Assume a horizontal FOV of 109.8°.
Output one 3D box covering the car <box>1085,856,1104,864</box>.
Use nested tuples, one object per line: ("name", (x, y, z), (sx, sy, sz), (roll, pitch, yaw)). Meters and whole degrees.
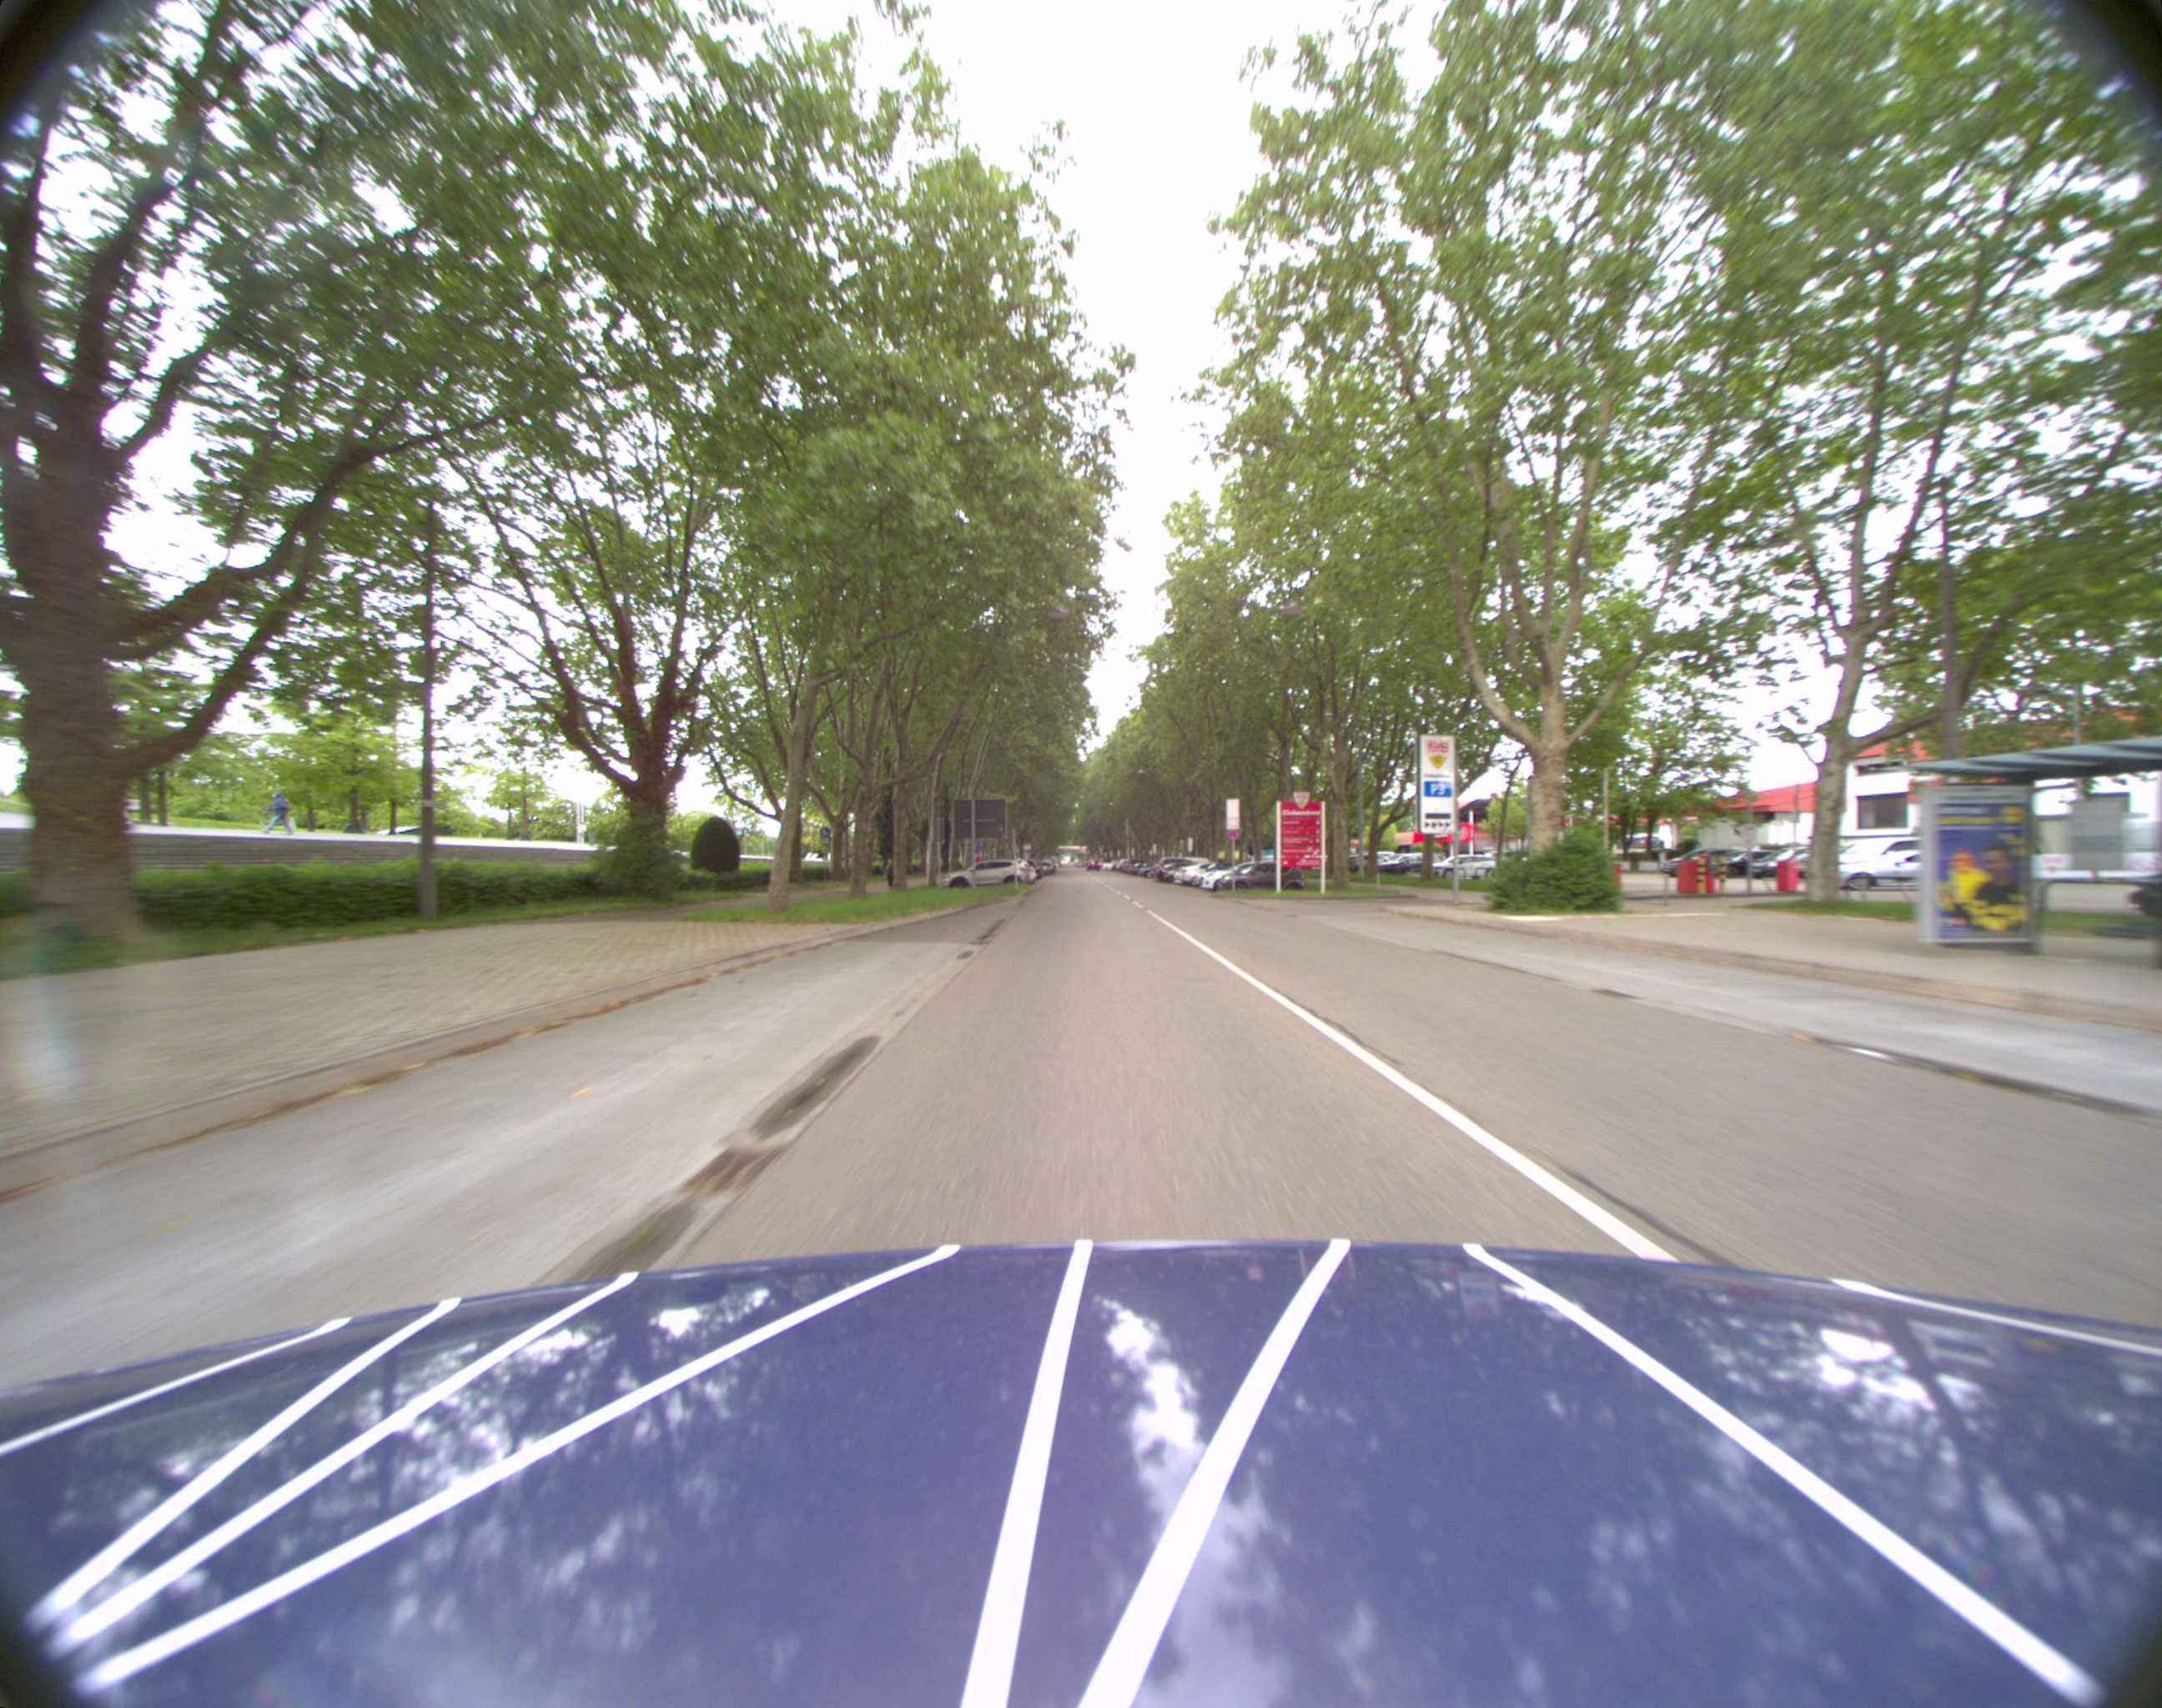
("car", (3.304, 1.449, 184.310), (4.492, 1.740, 2.001), (-3, 0, 4))

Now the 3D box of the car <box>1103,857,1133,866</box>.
("car", (5.610, 1.152, 116.627), (4.420, 1.416, 1.776), (1, 0, -2))

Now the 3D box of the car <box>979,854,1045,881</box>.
("car", (-4.670, 0.909, 51.666), (4.358, 1.750, 1.925), (0, 0, -2))

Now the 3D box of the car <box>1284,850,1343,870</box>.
("car", (22.388, 0.564, 73.296), (4.955, 1.786, 2.182), (-1, 0, -3))

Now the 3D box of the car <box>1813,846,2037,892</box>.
("car", (30.080, 0.537, 27.333), (4.965, 1.543, 2.104), (-1, 1, 26))

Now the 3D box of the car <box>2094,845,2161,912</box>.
("car", (23.487, 0.461, 15.152), (3.997, 1.316, 2.001), (-1, 1, -2))

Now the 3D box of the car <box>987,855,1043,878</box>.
("car", (-5.339, 1.014, 61.882), (4.358, 1.735, 1.836), (-2, 0, -3))

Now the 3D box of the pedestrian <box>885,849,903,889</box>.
("pedestrian", (-9.445, 0.758, 38.391), (0.788, 2.002, 0.598), (-1, 1, -17))

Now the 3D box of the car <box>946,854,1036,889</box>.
("car", (-4.586, 0.909, 39.313), (4.357, 1.624, 1.925), (-2, 0, -1))

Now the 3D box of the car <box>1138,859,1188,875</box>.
("car", (7.720, 1.221, 71.676), (4.475, 1.358, 1.859), (2, 0, -2))

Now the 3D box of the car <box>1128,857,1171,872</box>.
("car", (6.659, 1.048, 74.307), (3.941, 1.390, 1.703), (1, 0, -2))

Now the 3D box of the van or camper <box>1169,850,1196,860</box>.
("van or camper", (21.410, 0.232, 161.004), (5.300, 2.087, 2.243), (-1, 1, -3))

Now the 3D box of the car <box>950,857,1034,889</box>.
("car", (-4.846, 1.023, 41.929), (4.357, 1.595, 1.925), (-2, 0, -1))

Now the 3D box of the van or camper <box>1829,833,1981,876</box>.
("van or camper", (35.386, 0.027, 32.712), (4.332, 1.699, 2.131), (-1, 1, -2))

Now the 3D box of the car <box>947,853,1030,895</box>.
("car", (-4.735, 1.005, 39.243), (3.997, 2.002, 2.000), (-2, 0, -1))

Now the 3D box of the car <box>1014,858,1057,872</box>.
("car", (-4.834, 1.165, 81.585), (4.507, 1.420, 1.932), (-2, 0, 0))

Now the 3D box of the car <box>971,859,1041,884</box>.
("car", (-4.846, 1.103, 49.300), (4.358, 1.447, 1.949), (-2, 0, -2))

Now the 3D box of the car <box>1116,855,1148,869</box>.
("car", (6.652, 1.052, 99.457), (3.997, 1.672, 1.855), (-1, 1, 0))

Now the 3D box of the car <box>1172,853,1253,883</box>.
("car", (7.632, 0.813, 44.345), (4.275, 1.539, 1.907), (2, 0, -3))

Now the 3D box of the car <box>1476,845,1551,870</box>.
("car", (34.136, 0.270, 60.069), (4.588, 1.844, 2.297), (-1, 1, 4))

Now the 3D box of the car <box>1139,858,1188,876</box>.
("car", (6.968, 1.086, 64.479), (3.988, 1.412, 1.756), (2, 0, 2))

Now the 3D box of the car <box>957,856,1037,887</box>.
("car", (-4.840, 1.031, 44.245), (4.357, 1.624, 1.925), (-2, 0, -1))

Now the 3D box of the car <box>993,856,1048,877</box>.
("car", (-5.255, 1.102, 66.820), (4.602, 1.629, 1.873), (-2, 0, 1))

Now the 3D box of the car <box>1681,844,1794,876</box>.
("car", (34.437, 0.321, 39.949), (4.332, 1.539, 1.958), (-1, 1, -2))

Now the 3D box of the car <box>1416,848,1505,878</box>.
("car", (23.066, 0.544, 46.248), (4.332, 1.699, 2.131), (-1, 1, -2))

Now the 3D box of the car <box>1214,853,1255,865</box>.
("car", (22.305, 0.728, 110.507), (5.363, 1.587, 2.094), (-1, 1, -2))

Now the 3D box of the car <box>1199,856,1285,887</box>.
("car", (8.262, 0.890, 39.216), (4.004, 1.485, 1.832), (-1, 1, -1))

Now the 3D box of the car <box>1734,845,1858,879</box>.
("car", (35.159, 0.355, 37.430), (4.332, 1.539, 1.958), (-1, 1, -2))

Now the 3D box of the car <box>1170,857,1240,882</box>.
("car", (7.626, 0.956, 46.968), (3.998, 1.396, 1.885), (-1, 1, -2))

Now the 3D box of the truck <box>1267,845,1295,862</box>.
("truck", (33.460, -0.057, 127.424), (3.998, 2.701, 2.376), (-1, 1, -2))

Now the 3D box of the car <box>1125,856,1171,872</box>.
("car", (6.727, 0.991, 76.798), (4.475, 1.473, 1.703), (1, 0, -2))

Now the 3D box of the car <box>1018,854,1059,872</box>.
("car", (-4.792, 1.015, 86.265), (4.507, 1.786, 2.047), (-2, 0, -1))

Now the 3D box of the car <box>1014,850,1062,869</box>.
("car", (-4.324, 0.580, 76.649), (4.505, 1.786, 2.048), (-2, 0, 3))

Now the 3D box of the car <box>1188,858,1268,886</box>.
("car", (7.990, 0.976, 41.610), (3.997, 1.397, 1.861), (-1, 1, -1))

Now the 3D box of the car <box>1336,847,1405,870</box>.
("car", (23.086, 0.368, 60.707), (4.564, 1.715, 2.296), (-1, 1, -2))

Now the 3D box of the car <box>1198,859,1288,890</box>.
("car", (7.750, 0.974, 36.677), (4.003, 1.377, 1.912), (-1, 1, 3))

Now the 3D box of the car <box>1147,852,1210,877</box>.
("car", (7.272, 0.780, 56.823), (4.330, 1.799, 1.867), (1, 0, -5))

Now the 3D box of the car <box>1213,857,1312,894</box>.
("car", (8.122, 0.948, 34.270), (4.004, 1.531, 1.805), (-1, 1, 1))

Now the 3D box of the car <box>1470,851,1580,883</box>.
("car", (22.692, 0.642, 38.961), (4.332, 1.539, 2.203), (-1, 1, -2))

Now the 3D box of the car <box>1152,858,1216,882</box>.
("car", (6.986, 1.053, 51.862), (4.139, 1.443, 2.013), (2, 0, 1))

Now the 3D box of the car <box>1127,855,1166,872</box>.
("car", (7.069, 1.042, 81.956), (3.941, 1.698, 1.752), (1, 0, -2))

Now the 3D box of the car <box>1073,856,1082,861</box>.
("car", (-1.048, 1.220, 215.172), (2.000, 1.375, 4.677), (-3, 0, -6))

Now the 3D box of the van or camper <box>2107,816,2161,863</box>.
("van or camper", (47.530, -0.645, 31.774), (1.999, 2.002, 5.301), (-1, 0, -2))

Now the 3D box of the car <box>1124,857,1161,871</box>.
("car", (6.779, 1.111, 84.407), (3.940, 1.507, 1.728), (1, 0, 0))

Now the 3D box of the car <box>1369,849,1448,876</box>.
("car", (23.128, 0.583, 53.757), (4.530, 1.752, 2.296), (-1, 1, -2))

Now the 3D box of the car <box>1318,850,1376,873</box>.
("car", (23.054, 0.606, 65.973), (4.332, 1.850, 2.028), (-1, 1, -2))

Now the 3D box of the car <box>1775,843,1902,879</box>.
("car", (34.946, 0.322, 35.116), (4.229, 1.539, 1.789), (-1, 1, -2))

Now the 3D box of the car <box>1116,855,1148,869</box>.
("car", (6.502, 1.013, 97.030), (3.997, 1.672, 1.855), (-1, 1, 0))

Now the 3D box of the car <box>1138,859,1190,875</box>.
("car", (7.536, 1.170, 69.119), (4.474, 1.340, 1.902), (1, 0, 1))

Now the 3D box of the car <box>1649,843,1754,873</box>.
("car", (34.470, 0.236, 42.272), (4.332, 1.539, 1.958), (-1, 1, -2))

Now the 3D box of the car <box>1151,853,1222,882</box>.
("car", (6.870, 0.895, 49.844), (4.329, 1.799, 1.867), (1, 0, -1))

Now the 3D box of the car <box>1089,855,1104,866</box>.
("car", (2.154, 0.909, 106.485), (1.847, 1.501, 4.014), (-1, 0, -2))

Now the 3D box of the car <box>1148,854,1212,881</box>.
("car", (7.037, 0.915, 54.304), (4.328, 1.784, 2.036), (-1, 1, -1))

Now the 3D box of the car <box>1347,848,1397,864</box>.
("car", (33.592, 0.241, 87.753), (4.955, 1.786, 2.182), (-1, 1, -3))

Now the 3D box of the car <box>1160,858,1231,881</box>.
("car", (7.422, 0.996, 49.444), (4.200, 1.346, 1.966), (-1, 1, -3))
